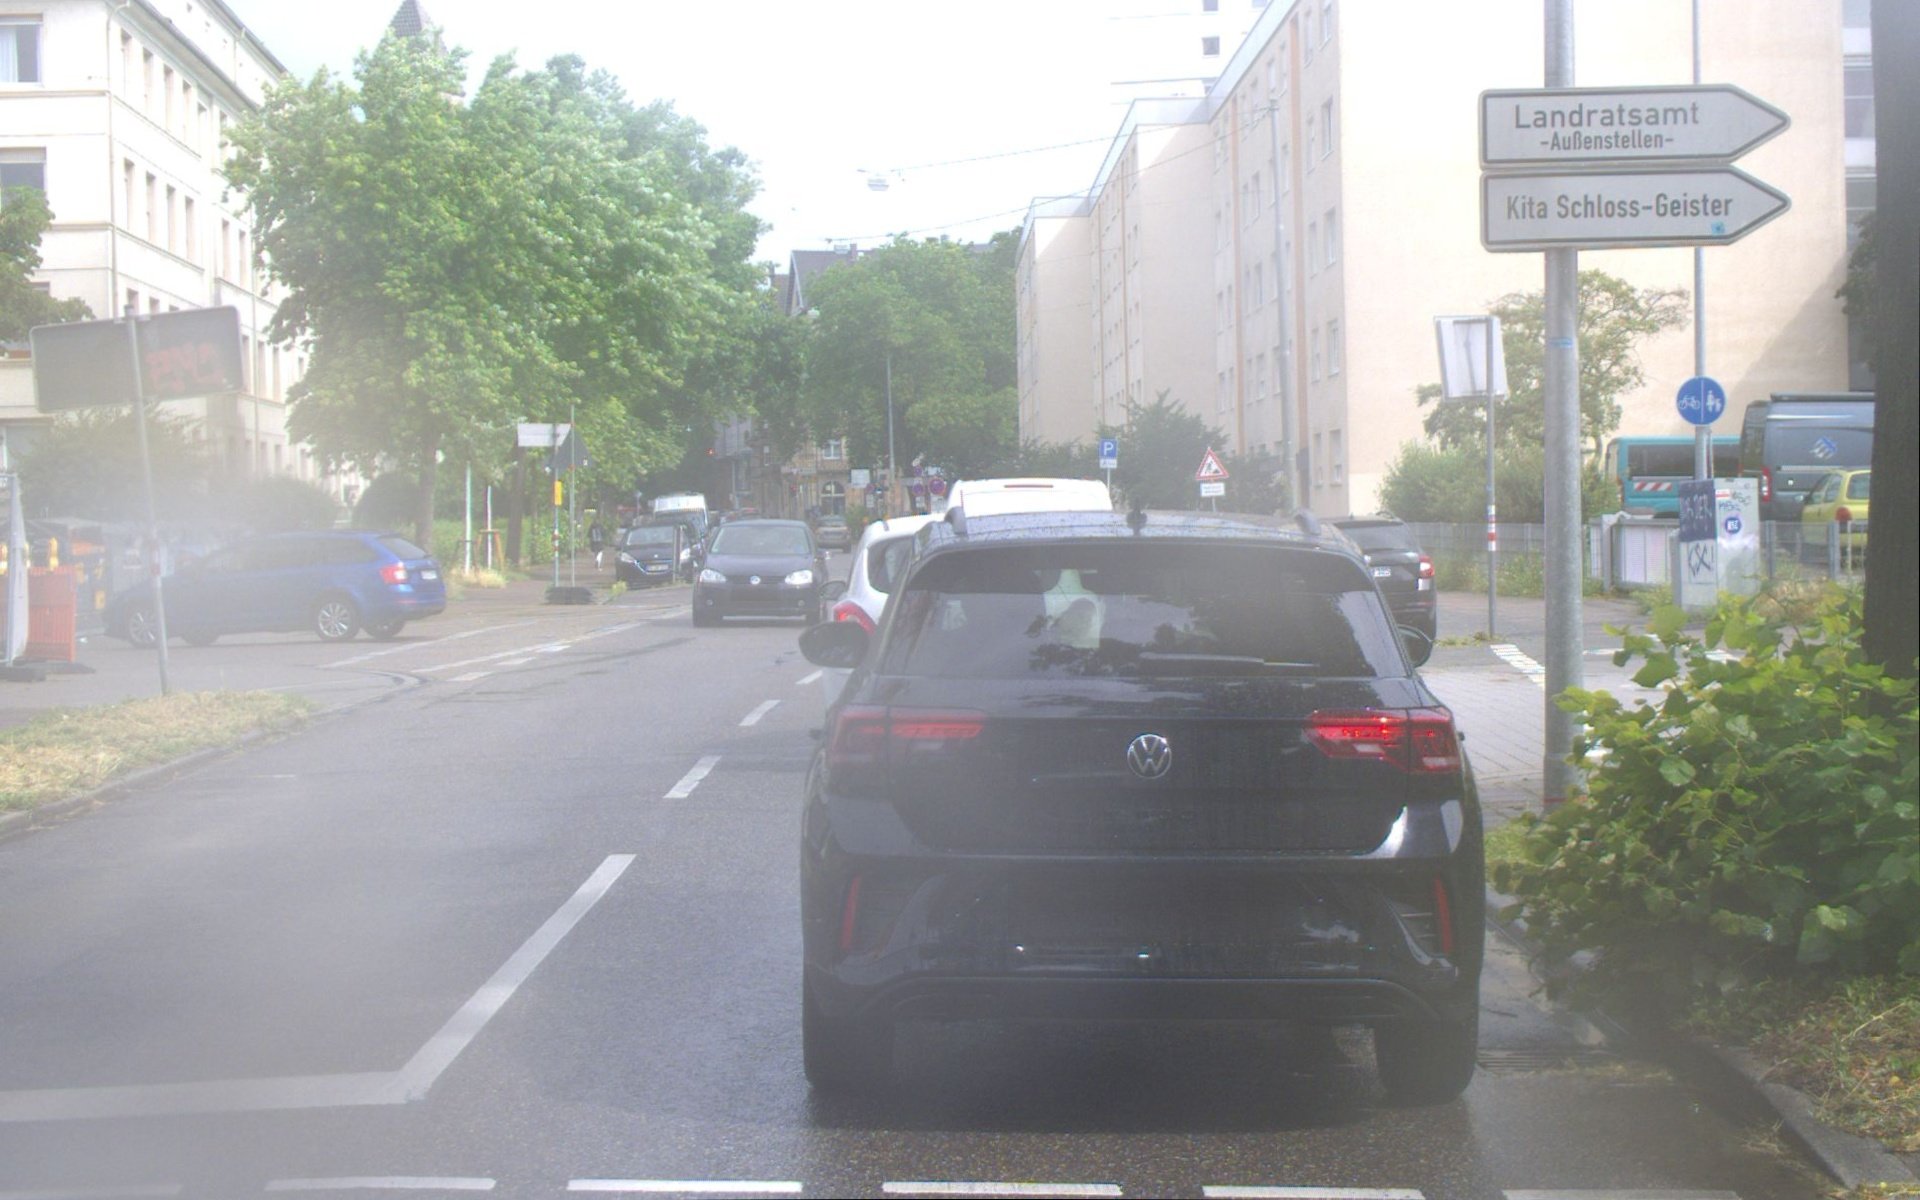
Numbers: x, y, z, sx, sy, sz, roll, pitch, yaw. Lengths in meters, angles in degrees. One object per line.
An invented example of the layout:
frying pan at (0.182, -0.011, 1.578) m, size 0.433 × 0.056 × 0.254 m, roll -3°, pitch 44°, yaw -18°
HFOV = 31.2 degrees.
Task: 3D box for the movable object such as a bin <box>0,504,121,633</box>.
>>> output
movable object such as a bin at (-13.388, -0.463, 50.562) m, size 1.539 × 1.818 × 1.262 m, roll -1°, pitch 2°, yaw 19°

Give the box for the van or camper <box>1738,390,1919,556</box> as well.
van or camper at (15.076, -2.009, 54.483) m, size 4.998 × 2.545 × 2.175 m, roll -1°, pitch 1°, yaw 1°

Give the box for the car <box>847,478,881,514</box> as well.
car at (-5.079, -5.498, 181.434) m, size 1.665 × 1.831 × 4.001 m, roll -2°, pitch 2°, yaw -2°

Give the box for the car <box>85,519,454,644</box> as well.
car at (-9.134, -0.263, 45.588) m, size 4.435 × 1.579 × 1.821 m, roll 0°, pitch 2°, yaw 13°

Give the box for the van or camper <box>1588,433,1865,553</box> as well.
van or camper at (14.401, -2.023, 64.842) m, size 4.760 × 2.124 × 2.321 m, roll -1°, pitch 2°, yaw 4°

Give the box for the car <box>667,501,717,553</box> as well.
car at (-8.978, -2.457, 115.102) m, size 1.585 × 1.633 × 3.921 m, roll -3°, pitch 2°, yaw -5°

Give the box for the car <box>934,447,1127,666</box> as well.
car at (0.736, -0.446, 35.193) m, size 1.836 × 2.095 × 4.000 m, roll 1°, pitch 1°, yaw 2°

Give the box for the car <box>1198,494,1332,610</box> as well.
car at (4.466, -0.670, 50.793) m, size 1.757 × 1.522 × 3.999 m, roll -4°, pitch -1°, yaw 3°

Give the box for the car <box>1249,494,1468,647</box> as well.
car at (4.481, -0.379, 39.230) m, size 1.774 × 1.534 × 4.379 m, roll -4°, pitch 2°, yaw -2°

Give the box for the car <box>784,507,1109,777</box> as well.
car at (-0.084, 0.211, 21.332) m, size 1.813 × 1.498 × 4.000 m, roll 1°, pitch 1°, yaw 0°

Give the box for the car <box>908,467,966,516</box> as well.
car at (-0.768, -3.736, 118.636) m, size 1.841 × 1.602 × 3.675 m, roll -3°, pitch 1°, yaw 1°

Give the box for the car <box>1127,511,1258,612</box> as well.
car at (3.770, -0.640, 56.250) m, size 1.604 × 1.503 × 4.160 m, roll -3°, pitch 1°, yaw -2°

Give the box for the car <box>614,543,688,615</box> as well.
car at (-7.105, -0.503, 79.252) m, size 1.585 × 1.500 × 4.065 m, roll -3°, pitch 2°, yaw -5°

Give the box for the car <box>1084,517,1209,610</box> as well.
car at (3.350, -0.638, 62.477) m, size 1.748 × 1.503 × 4.112 m, roll -1°, pitch -1°, yaw -4°

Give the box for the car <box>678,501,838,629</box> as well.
car at (-2.748, -0.514, 47.493) m, size 1.841 × 1.602 × 4.000 m, roll -3°, pitch 2°, yaw 1°

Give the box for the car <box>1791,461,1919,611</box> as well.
car at (11.678, -0.836, 42.632) m, size 1.804 × 1.744 × 4.238 m, roll -2°, pitch 2°, yaw 2°

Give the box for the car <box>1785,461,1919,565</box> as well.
car at (13.378, -1.294, 50.859) m, size 1.610 × 1.444 × 3.417 m, roll -2°, pitch 2°, yaw 2°

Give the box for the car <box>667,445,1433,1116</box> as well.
car at (0.207, 0.417, 10.516) m, size 1.873 × 1.640 × 4.062 m, roll 1°, pitch 1°, yaw 0°

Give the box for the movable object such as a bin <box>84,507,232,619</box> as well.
movable object such as a bin at (-12.512, -0.586, 53.661) m, size 1.539 × 1.668 × 1.664 m, roll -1°, pitch 2°, yaw 19°

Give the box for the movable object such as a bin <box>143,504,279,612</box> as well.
movable object such as a bin at (-12.012, -0.682, 55.174) m, size 1.539 × 1.656 × 1.457 m, roll -1°, pitch 2°, yaw 19°

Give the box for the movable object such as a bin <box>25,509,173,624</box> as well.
movable object such as a bin at (-13.041, -0.510, 52.101) m, size 1.539 × 1.650 × 1.526 m, roll -1°, pitch 2°, yaw 19°
